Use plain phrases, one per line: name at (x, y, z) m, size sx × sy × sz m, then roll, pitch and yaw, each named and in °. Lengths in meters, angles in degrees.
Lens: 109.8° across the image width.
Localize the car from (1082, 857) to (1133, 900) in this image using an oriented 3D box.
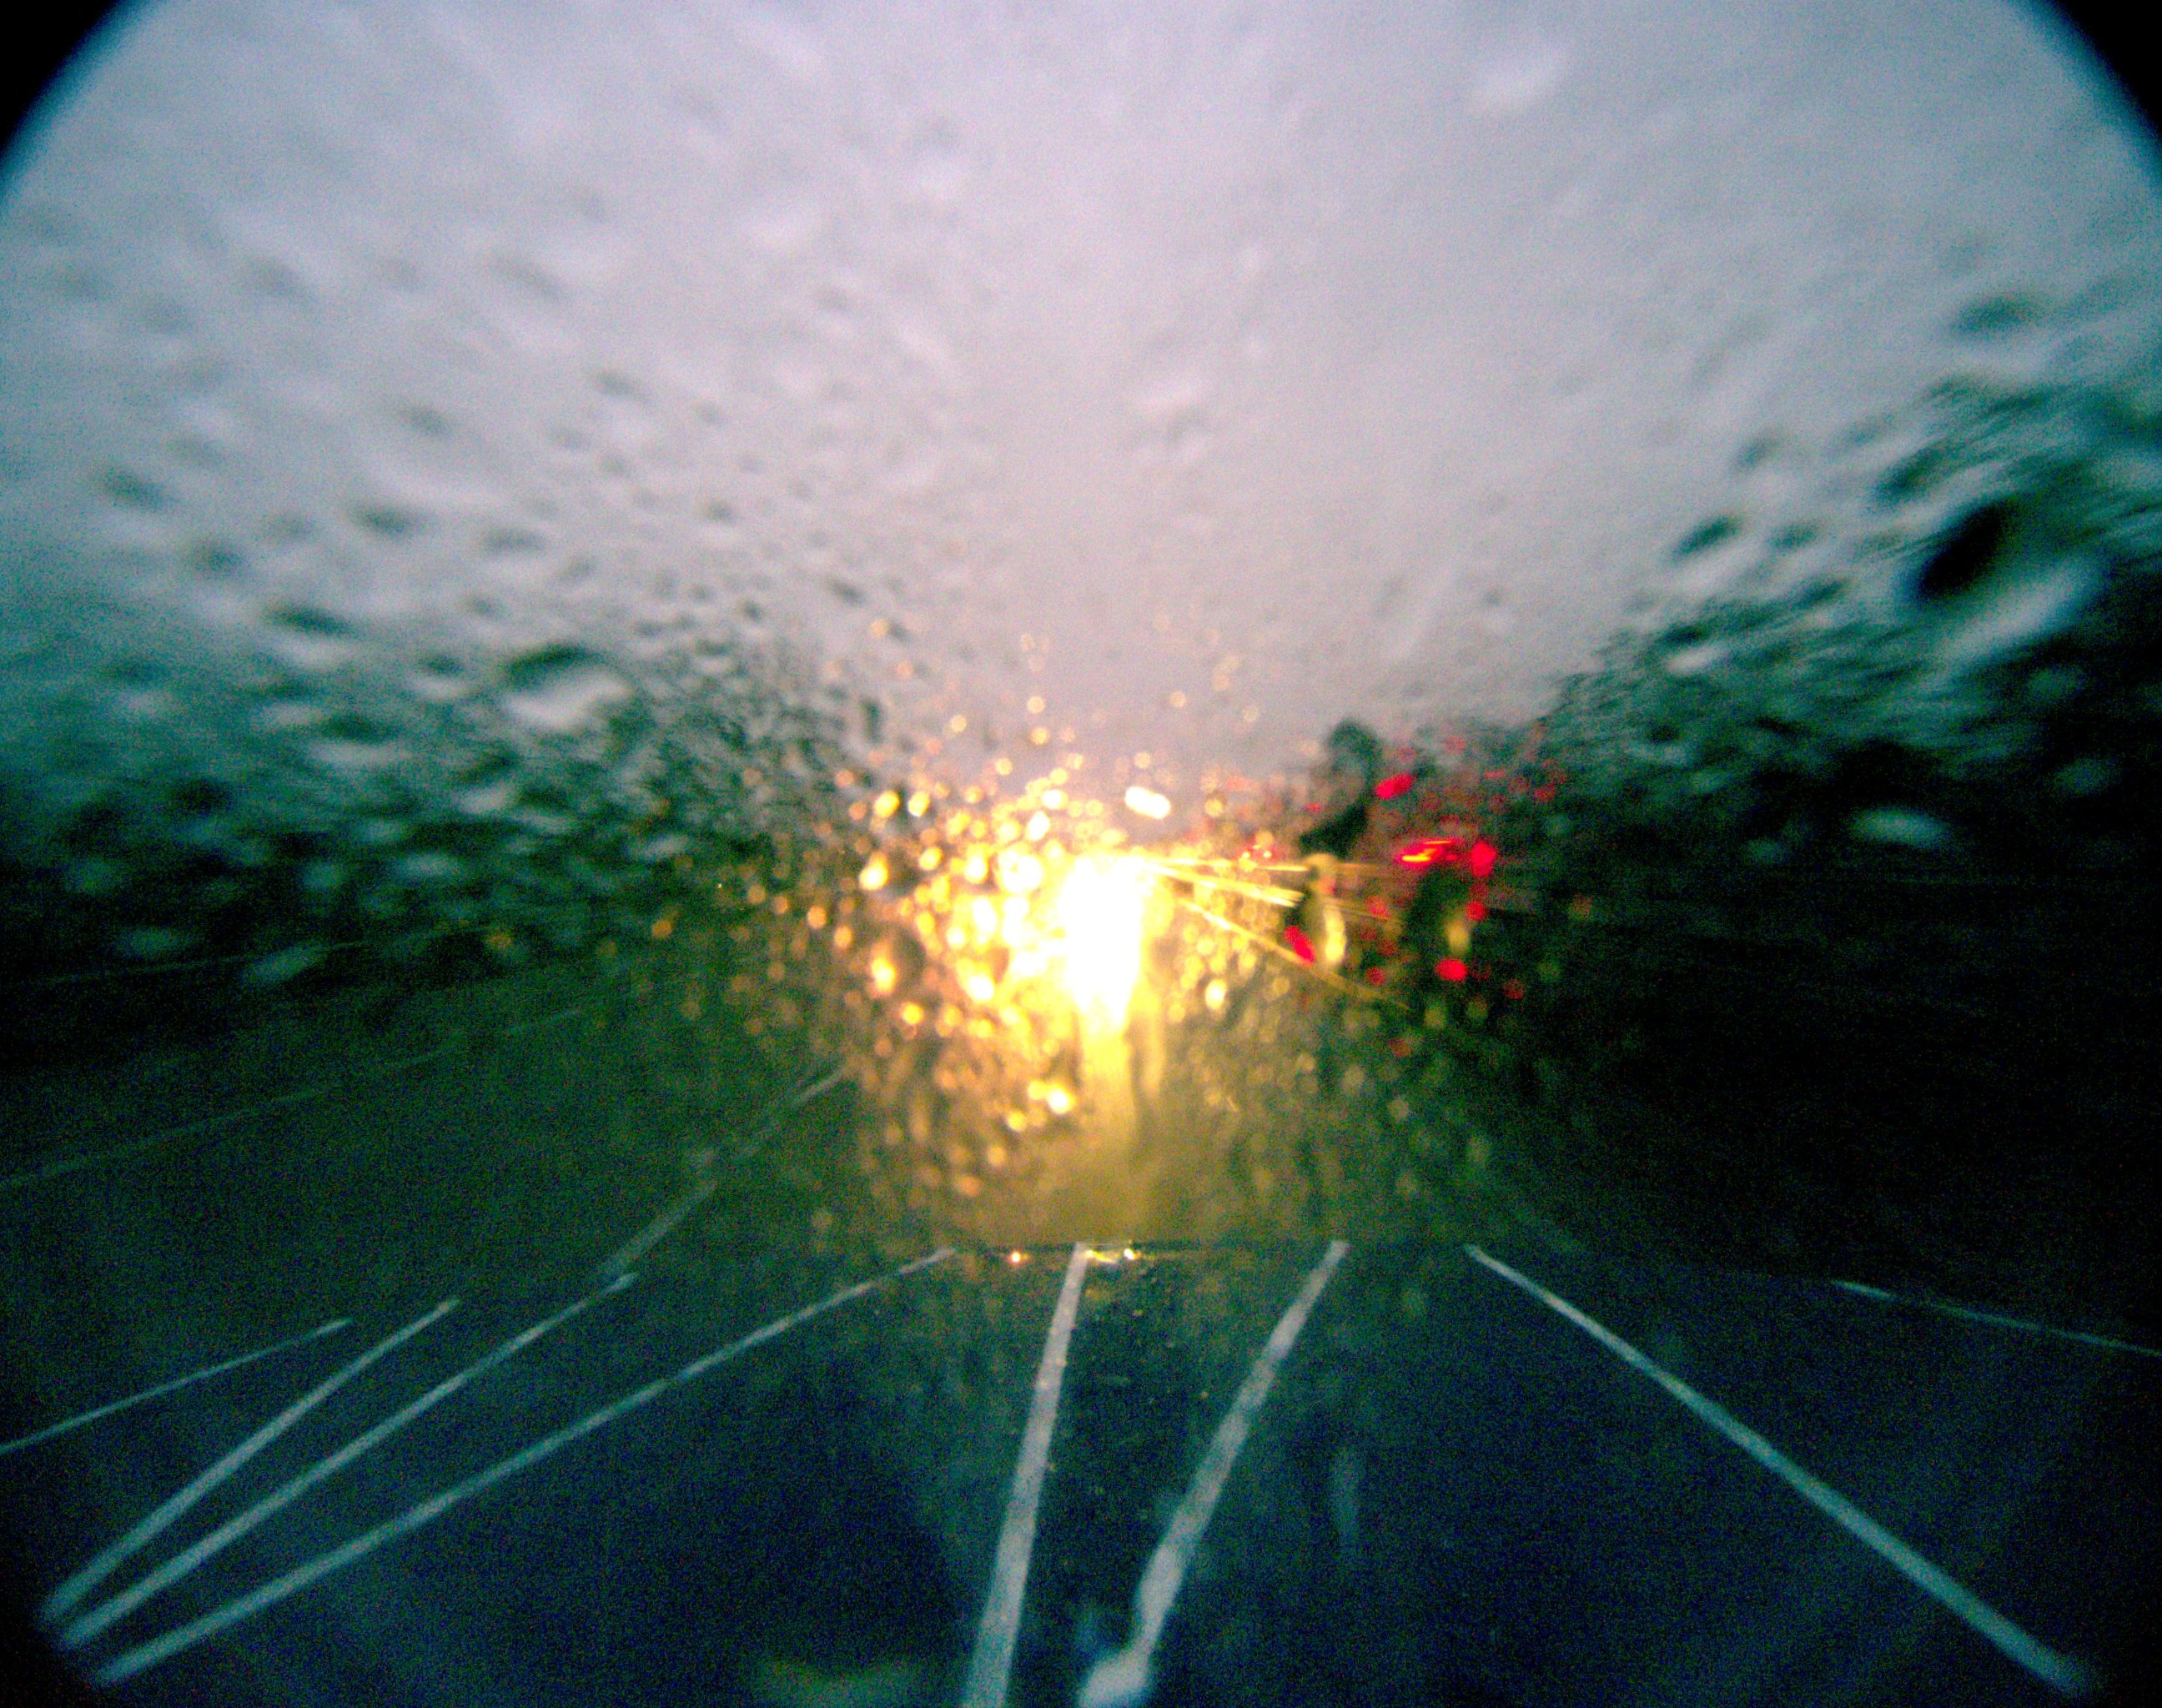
car at (1.136, 0.920, 30.540) m, size 1.850 × 1.521 × 4.150 m, roll -2°, pitch 0°, yaw 4°

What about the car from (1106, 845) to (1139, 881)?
car at (2.622, 0.546, 49.143) m, size 1.795 × 2.002 × 3.724 m, roll -5°, pitch 2°, yaw 1°

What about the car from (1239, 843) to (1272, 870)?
car at (13.858, 0.164, 60.496) m, size 1.939 × 1.961 × 4.538 m, roll -2°, pitch 1°, yaw 6°

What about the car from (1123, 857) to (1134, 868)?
car at (8.014, 1.437, 128.246) m, size 1.647 × 1.729 × 3.533 m, roll -4°, pitch 1°, yaw 1°

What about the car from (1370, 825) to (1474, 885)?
car at (11.429, -0.019, 25.782) m, size 1.749 × 1.823 × 4.134 m, roll -2°, pitch 2°, yaw 2°

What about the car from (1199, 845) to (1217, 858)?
car at (16.168, -0.333, 96.754) m, size 1.850 × 1.520 × 4.305 m, roll -2°, pitch 0°, yaw 4°

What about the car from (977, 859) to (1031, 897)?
car at (-3.430, 1.053, 34.685) m, size 1.850 × 1.521 × 4.149 m, roll -2°, pitch 0°, yaw 2°
